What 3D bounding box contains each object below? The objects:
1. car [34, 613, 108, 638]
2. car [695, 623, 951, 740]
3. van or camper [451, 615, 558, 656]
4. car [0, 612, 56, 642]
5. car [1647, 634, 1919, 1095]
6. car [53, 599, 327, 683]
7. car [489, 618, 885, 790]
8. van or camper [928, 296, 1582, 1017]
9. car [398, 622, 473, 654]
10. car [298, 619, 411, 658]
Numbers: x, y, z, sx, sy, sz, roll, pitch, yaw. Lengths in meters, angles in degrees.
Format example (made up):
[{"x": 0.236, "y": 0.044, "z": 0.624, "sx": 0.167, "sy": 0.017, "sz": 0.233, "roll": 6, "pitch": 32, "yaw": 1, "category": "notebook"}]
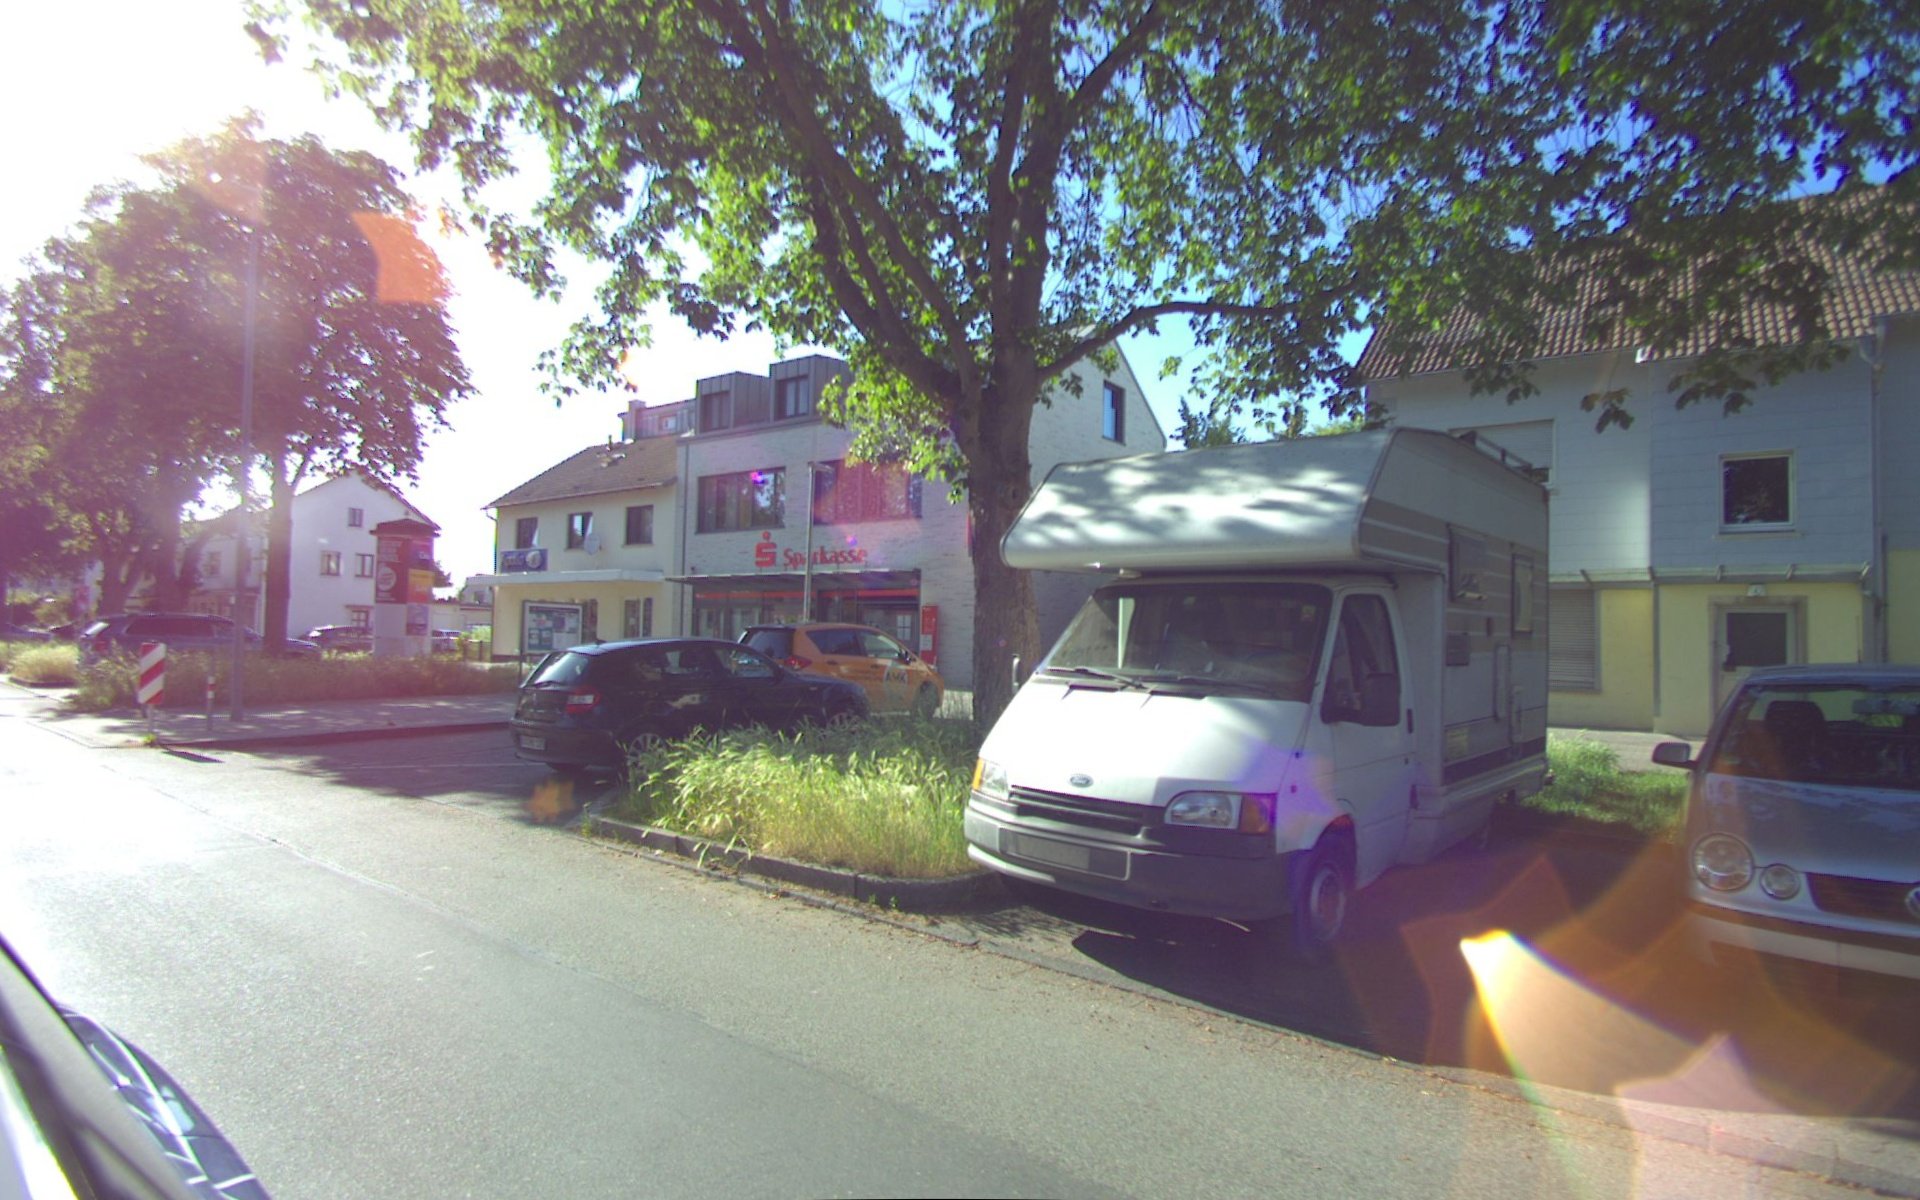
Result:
[{"x": -63.561, "y": 1.831, "z": 72.396, "sx": 1.691, "sy": 1.577, "sz": 3.724, "roll": 0, "pitch": -3, "yaw": 43, "category": "car"}, {"x": -2.015, "y": 1.158, "z": 15.975, "sx": 1.865, "sy": 1.554, "sz": 3.954, "roll": 0, "pitch": -1, "yaw": 34, "category": "car"}, {"x": -23.563, "y": 1.855, "z": 52.452, "sx": 1.997, "sy": 2.029, "sz": 4.629, "roll": 0, "pitch": -2, "yaw": 37, "category": "van or camper"}, {"x": -47.122, "y": 1.293, "z": 49.288, "sx": 1.998, "sy": 1.426, "sz": 4.339, "roll": 0, "pitch": -1, "yaw": 38, "category": "car"}, {"x": 4.805, "y": 1.016, "z": 5.101, "sx": 1.997, "sy": 1.469, "sz": 3.949, "roll": 0, "pitch": 1, "yaw": 38, "category": "car"}, {"x": -18.728, "y": 0.899, "z": 24.872, "sx": 1.996, "sy": 1.741, "sz": 5.017, "roll": 0, "pitch": 1, "yaw": 35, "category": "car"}, {"x": -2.812, "y": 0.964, "z": 11.083, "sx": 1.639, "sy": 1.460, "sz": 3.944, "roll": 0, "pitch": 0, "yaw": 43, "category": "car"}, {"x": 2.465, "y": 0.170, "z": 6.784, "sx": 1.999, "sy": 2.826, "sz": 5.716, "roll": 0, "pitch": 1, "yaw": 41, "category": "van or camper"}, {"x": -30.210, "y": 2.179, "z": 58.244, "sx": 4.658, "sy": 1.539, "sz": 1.856, "roll": 2, "pitch": -1, "yaw": 35, "category": "car"}, {"x": -27.793, "y": 1.789, "z": 46.565, "sx": 1.994, "sy": 1.650, "sz": 3.954, "roll": 0, "pitch": -3, "yaw": 33, "category": "car"}]
